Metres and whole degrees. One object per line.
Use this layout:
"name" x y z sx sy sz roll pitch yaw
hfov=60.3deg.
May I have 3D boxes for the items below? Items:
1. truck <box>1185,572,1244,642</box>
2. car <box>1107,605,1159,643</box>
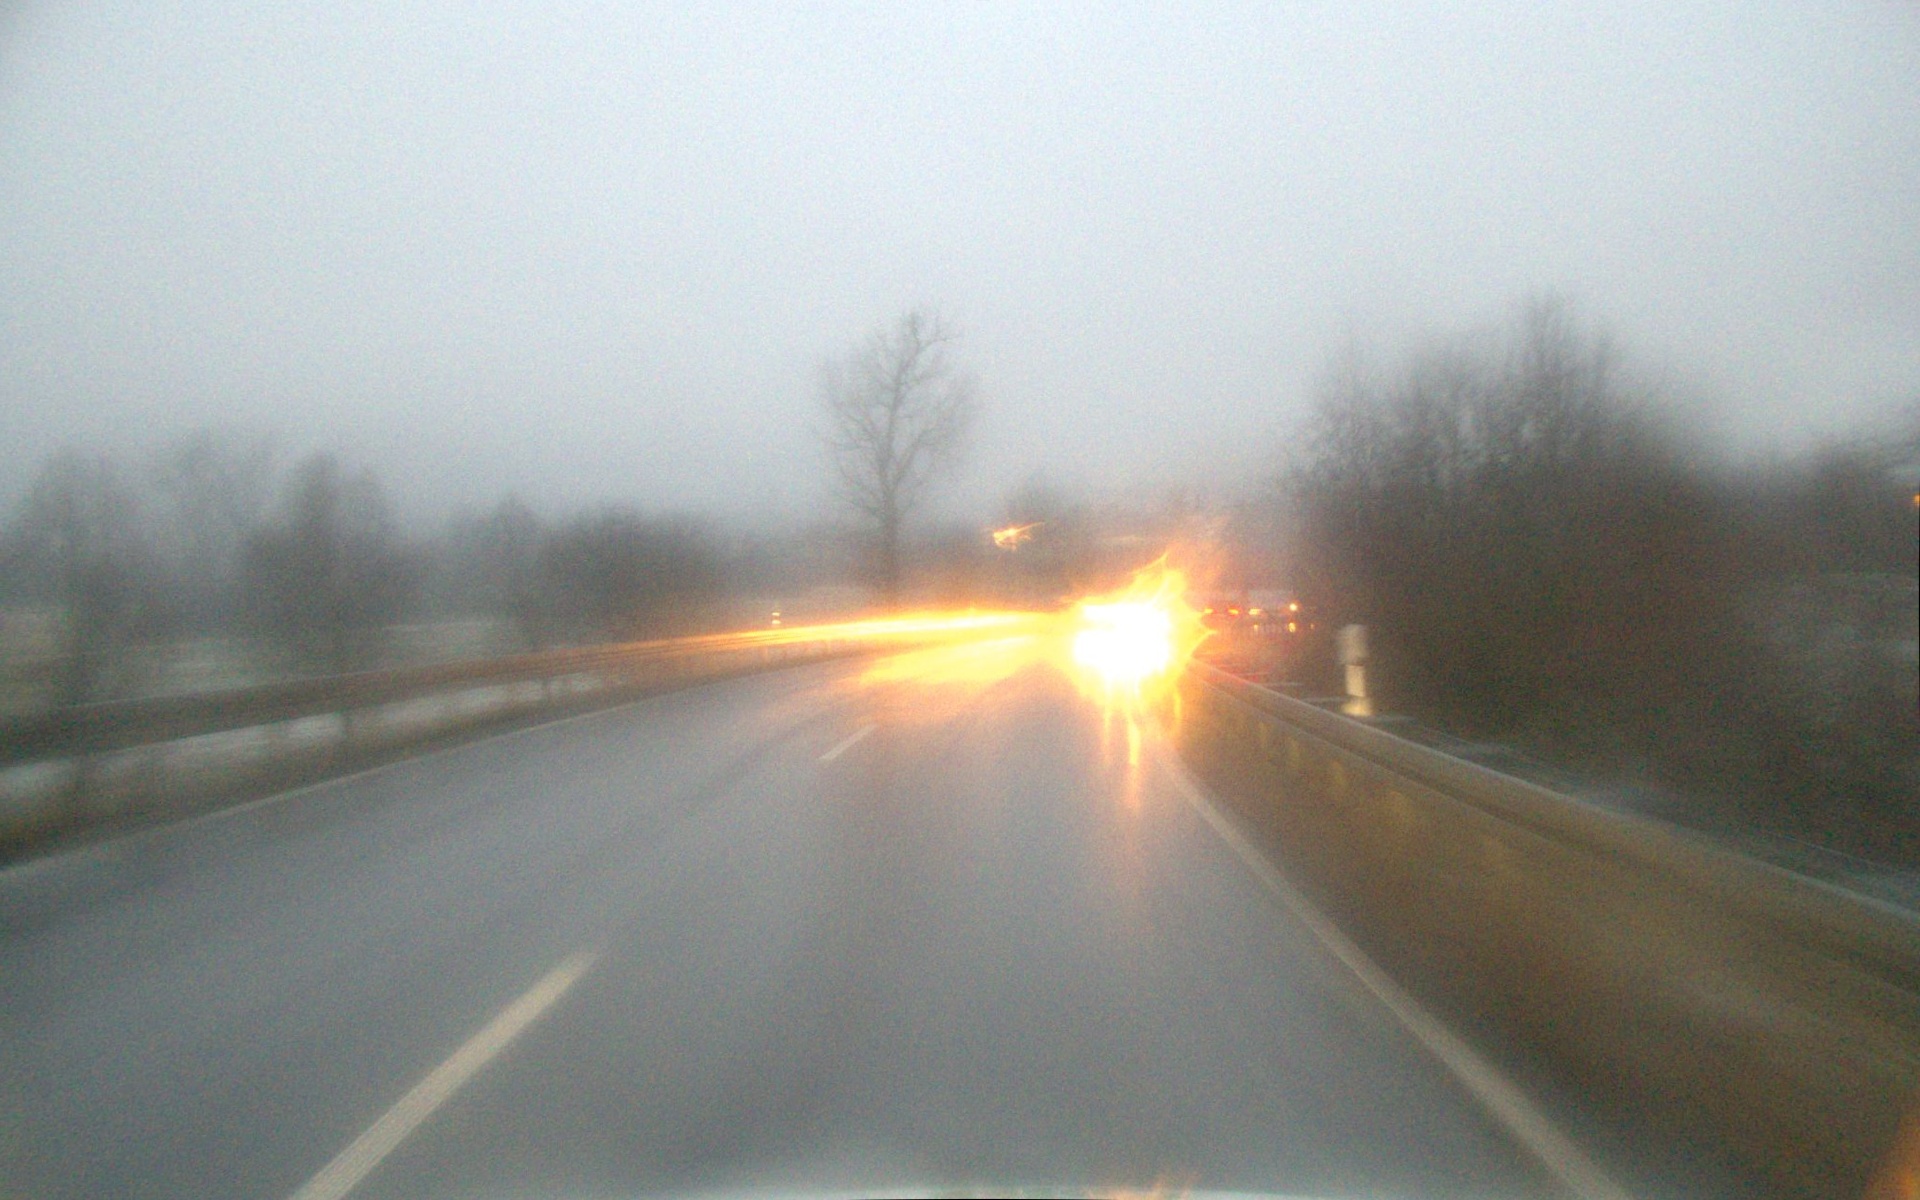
"truck" 12.509 0.302 81.684 2.479 2.917 5.929 5 4 7
"car" 7.941 1.068 75.495 1.967 1.663 4.878 0 0 10
